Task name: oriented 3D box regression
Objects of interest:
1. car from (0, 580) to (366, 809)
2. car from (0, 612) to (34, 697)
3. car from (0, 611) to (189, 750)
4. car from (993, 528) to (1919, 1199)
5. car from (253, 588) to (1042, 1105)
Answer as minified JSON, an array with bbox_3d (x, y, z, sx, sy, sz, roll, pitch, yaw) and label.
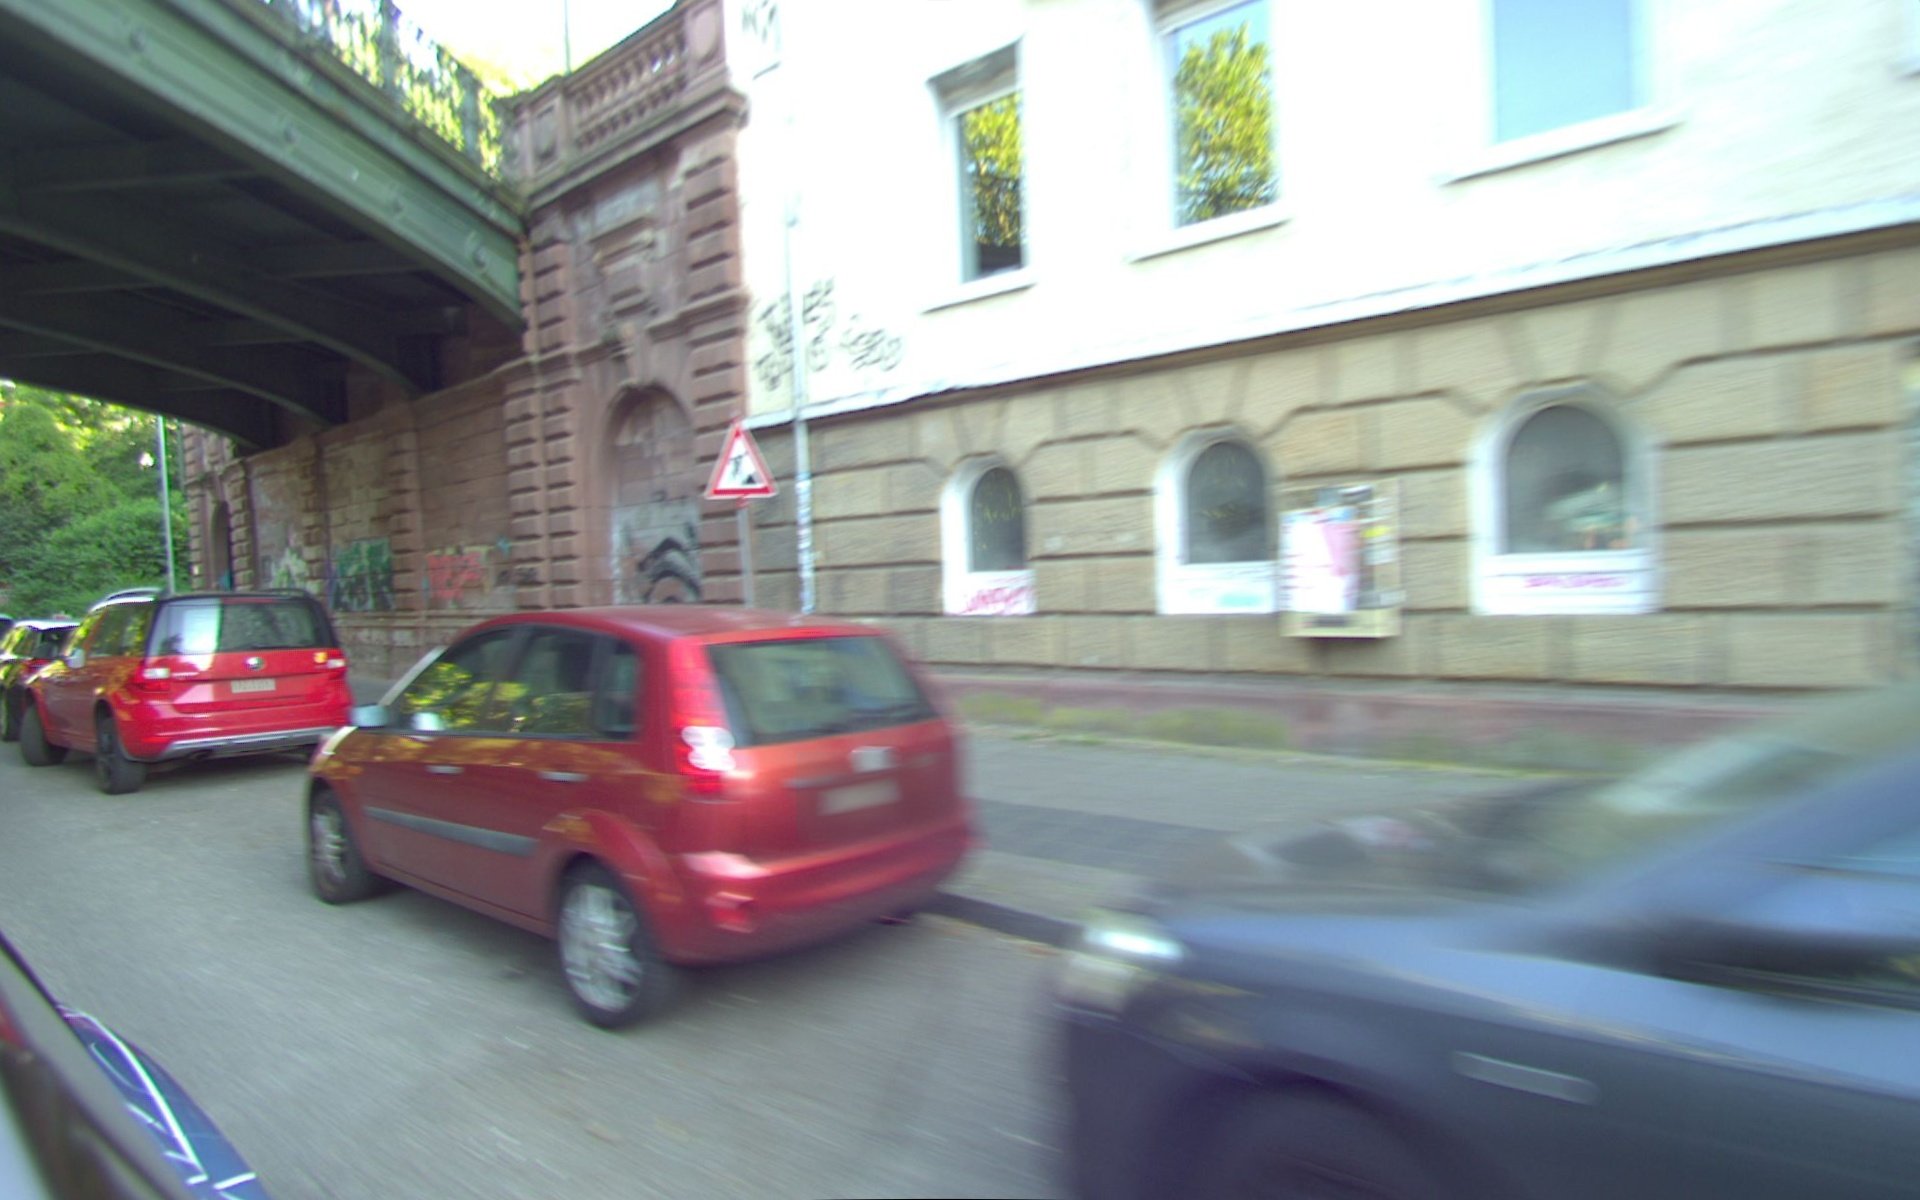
[{"bbox_3d":[-7.520,0.724,9.632,4.316,1.721,1.701,-1,1,37],"label":"car"},{"bbox_3d":[-19.707,1.042,19.827,3.908,1.559,1.580,0,1,37],"label":"car"},{"bbox_3d":[-11.585,0.916,13.106,3.997,1.475,1.700,-1,1,40],"label":"car"},{"bbox_3d":[2.110,0.655,1.418,3.997,1.478,1.620,-1,-1,40],"label":"car"},{"bbox_3d":[-1.738,0.727,4.847,3.996,1.452,1.672,-1,1,40],"label":"car"}]
